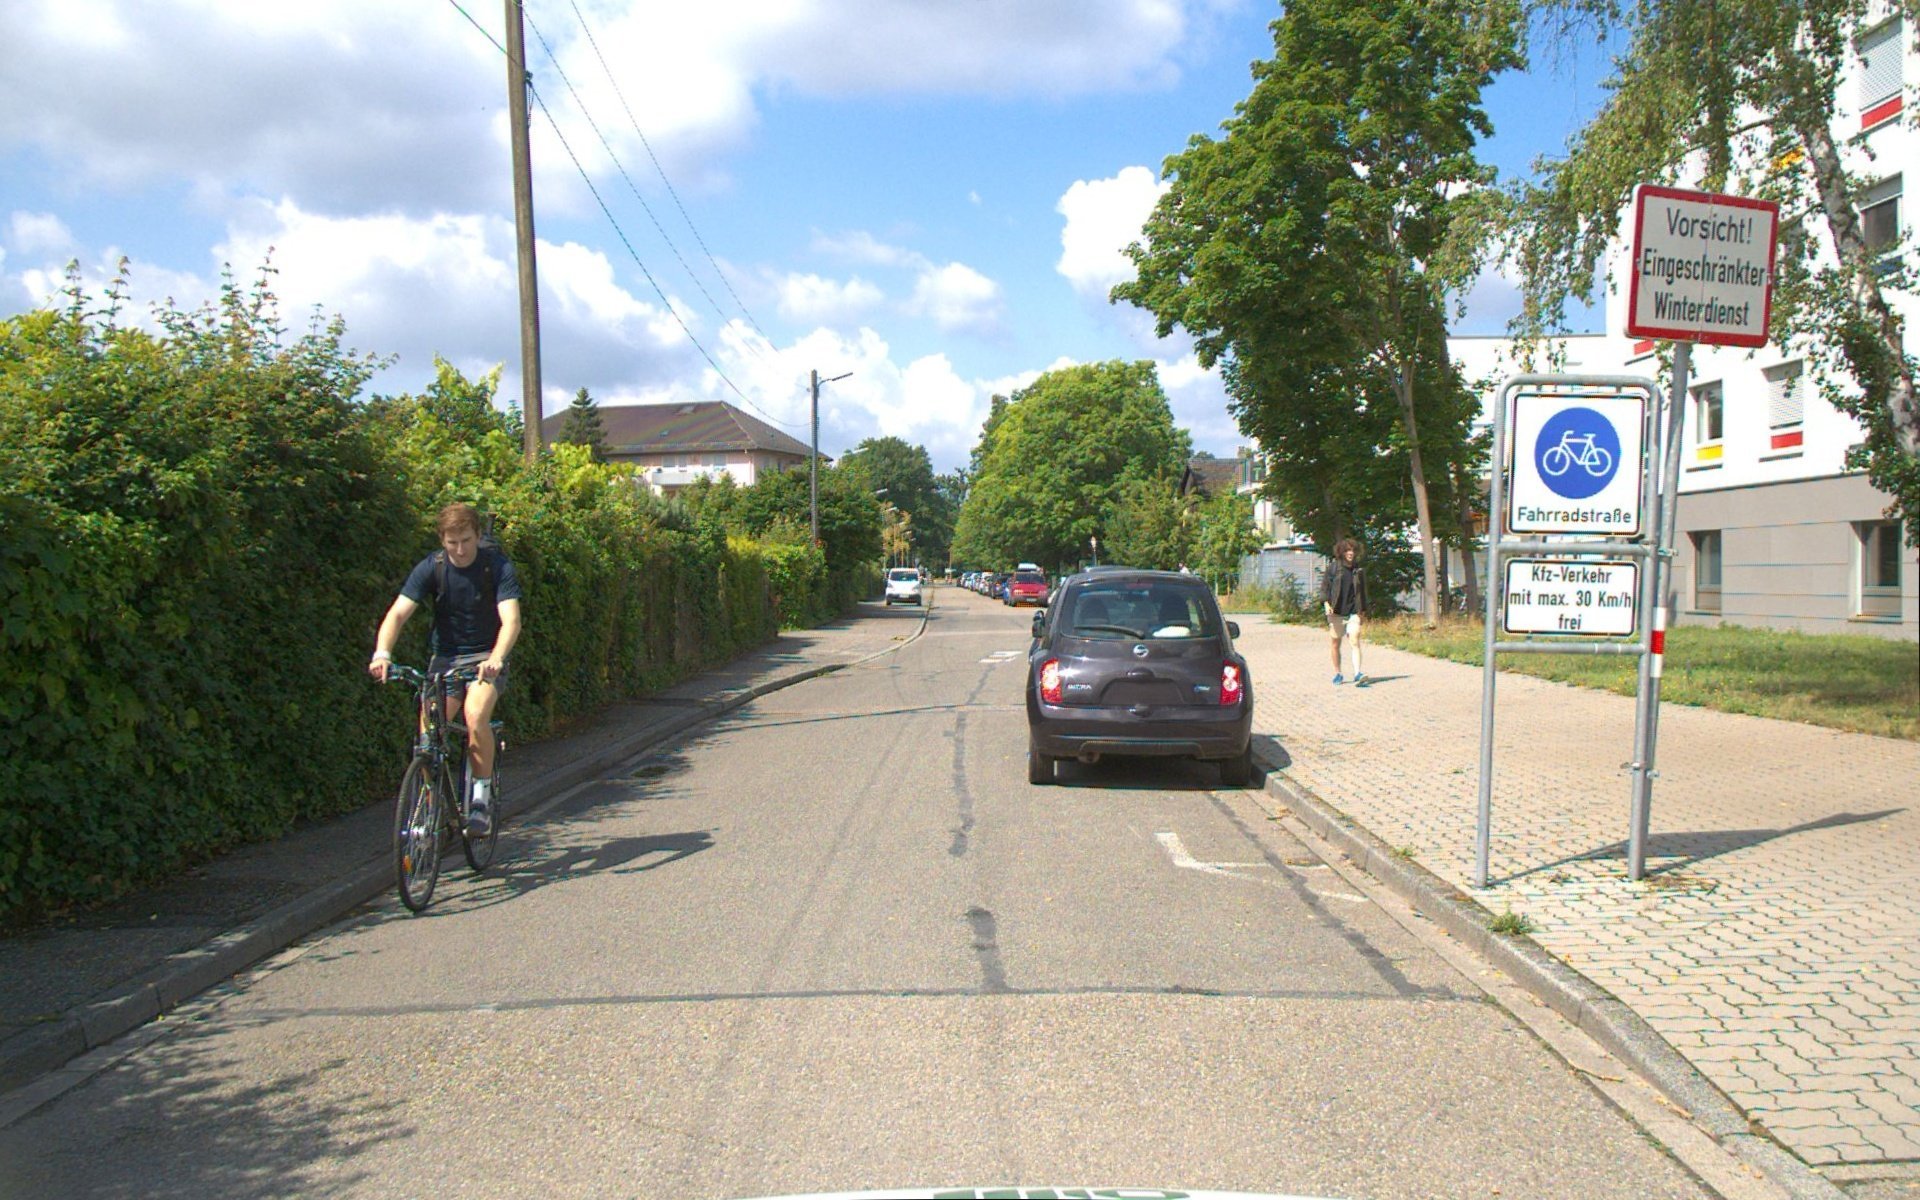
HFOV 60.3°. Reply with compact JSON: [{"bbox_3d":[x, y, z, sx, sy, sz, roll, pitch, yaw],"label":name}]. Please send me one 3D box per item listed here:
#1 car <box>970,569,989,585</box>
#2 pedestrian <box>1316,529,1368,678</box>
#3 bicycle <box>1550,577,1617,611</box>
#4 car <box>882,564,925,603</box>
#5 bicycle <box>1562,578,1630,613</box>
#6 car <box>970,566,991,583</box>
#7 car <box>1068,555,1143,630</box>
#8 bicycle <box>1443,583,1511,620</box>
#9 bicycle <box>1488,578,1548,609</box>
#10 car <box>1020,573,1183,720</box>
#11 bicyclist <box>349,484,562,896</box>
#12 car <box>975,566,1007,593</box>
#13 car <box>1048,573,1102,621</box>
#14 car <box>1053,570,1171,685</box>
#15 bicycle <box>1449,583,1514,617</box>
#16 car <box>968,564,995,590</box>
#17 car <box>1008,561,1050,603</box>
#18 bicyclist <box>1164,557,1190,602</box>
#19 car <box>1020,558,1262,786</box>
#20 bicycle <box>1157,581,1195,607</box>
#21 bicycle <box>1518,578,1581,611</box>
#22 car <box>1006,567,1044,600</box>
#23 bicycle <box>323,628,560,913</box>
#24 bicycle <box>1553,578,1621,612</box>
[{"bbox_3d":[2.095,-2.412,175.919,1.813,1.646,4.002,1,1,4],"label":"car"},{"bbox_3d":[4.671,0.038,20.237,0.597,1.776,0.722,1,0,12],"label":"pedestrian"},{"bbox_3d":[21.546,-0.196,57.168,2.004,1.098,0.688,-2,1,2],"label":"bicycle"},{"bbox_3d":[-2.762,-0.810,81.470,1.863,1.846,4.001,1,1,2],"label":"car"},{"bbox_3d":[21.352,-0.149,55.532,2.004,1.098,0.688,-2,1,2],"label":"bicycle"},{"bbox_3d":[1.976,-2.447,160.829,1.813,1.646,4.002,-1,1,4],"label":"car"},{"bbox_3d":[3.721,-0.214,42.742,1.835,1.837,3.434,1,1,4],"label":"car"},{"bbox_3d":[17.279,0.053,55.298,2.045,1.139,0.625,-2,0,4],"label":"bicycle"},{"bbox_3d":[20.949,-0.245,62.076,2.004,1.098,0.688,-2,1,2],"label":"bicycle"},{"bbox_3d":[1.571,0.449,18.876,1.628,1.465,4.209,1,1,4],"label":"car"},{"bbox_3d":[-2.456,0.410,8.165,0.645,1.884,1.043,-2,0,1],"label":"bicyclist"},{"bbox_3d":[1.997,-1.319,106.141,2.015,1.681,4.542,1,1,2],"label":"car"},{"bbox_3d":[3.852,-0.126,55.984,1.644,1.545,4.001,1,1,2],"label":"car"},{"bbox_3d":[2.305,0.358,24.806,1.628,1.579,3.640,1,1,6],"label":"car"},{"bbox_3d":[18.004,0.000,57.128,2.004,1.098,0.688,-2,1,2],"label":"bicycle"},{"bbox_3d":[1.703,-1.790,131.200,2.015,1.996,4.542,1,1,2],"label":"car"},{"bbox_3d":[3.363,-0.895,81.513,2.015,1.959,4.542,1,1,2],"label":"car"},{"bbox_3d":[8.741,-0.820,66.598,0.770,1.817,0.892,1,0,31],"label":"bicyclist"},{"bbox_3d":[1.365,0.470,13.297,1.628,1.532,4.002,1,1,4],"label":"car"},{"bbox_3d":[8.719,-0.240,66.638,0.843,1.044,1.816,1,1,32],"label":"bicycle"},{"bbox_3d":[21.189,-0.215,59.452,2.004,1.098,0.688,-2,1,2],"label":"bicycle"},{"bbox_3d":[3.497,-0.897,89.554,2.015,1.681,4.542,1,1,2],"label":"car"},{"bbox_3d":[-2.483,0.761,8.134,0.507,1.170,1.827,-2,1,1],"label":"bicycle"},{"bbox_3d":[21.388,-0.176,56.433,2.004,1.098,0.688,-2,1,2],"label":"bicycle"}]
